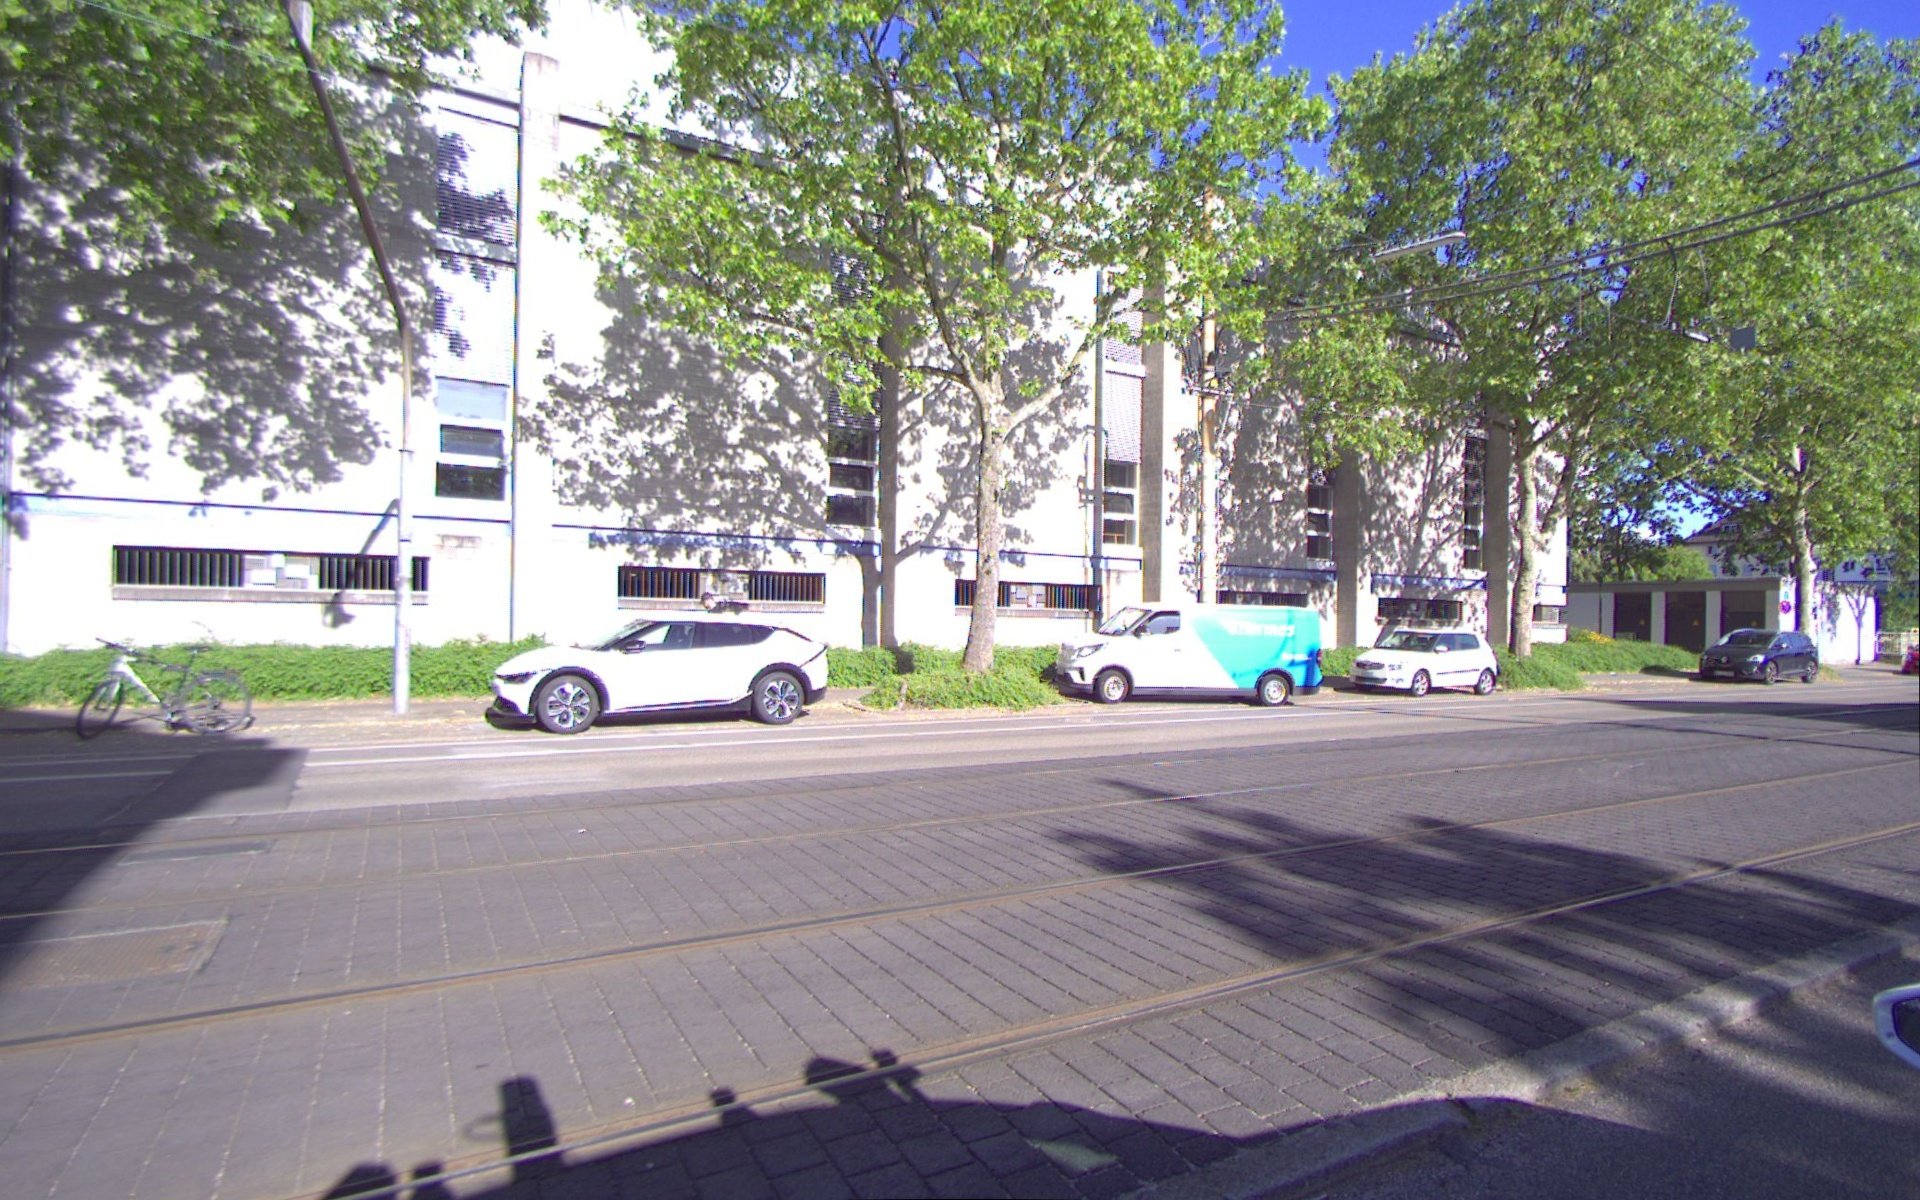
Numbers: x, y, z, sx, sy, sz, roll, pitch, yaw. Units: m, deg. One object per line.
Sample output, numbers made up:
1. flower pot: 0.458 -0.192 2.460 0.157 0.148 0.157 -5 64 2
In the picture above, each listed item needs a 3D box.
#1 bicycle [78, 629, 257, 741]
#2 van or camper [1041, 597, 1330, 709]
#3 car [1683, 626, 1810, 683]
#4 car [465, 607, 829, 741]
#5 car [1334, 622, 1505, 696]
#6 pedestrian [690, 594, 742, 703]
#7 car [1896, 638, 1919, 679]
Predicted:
1. bicycle: -9.384 0.977 11.971 1.638 1.225 0.577 1 1 -37
2. van or camper: 4.337 1.008 19.692 5.096 1.976 2.063 1 1 -10
3. car: 25.031 1.704 31.956 3.953 1.688 1.879 2 -1 -30
4. car: -4.431 0.951 14.414 4.641 1.594 2.001 1 1 -32
5. car: 10.715 1.323 23.381 4.042 1.527 1.566 1 1 -30
6. pedestrian: -4.271 0.824 17.536 0.662 1.845 0.793 1 1 -30
7. car: 39.082 2.369 40.119 3.531 1.553 1.563 3 -1 -30
